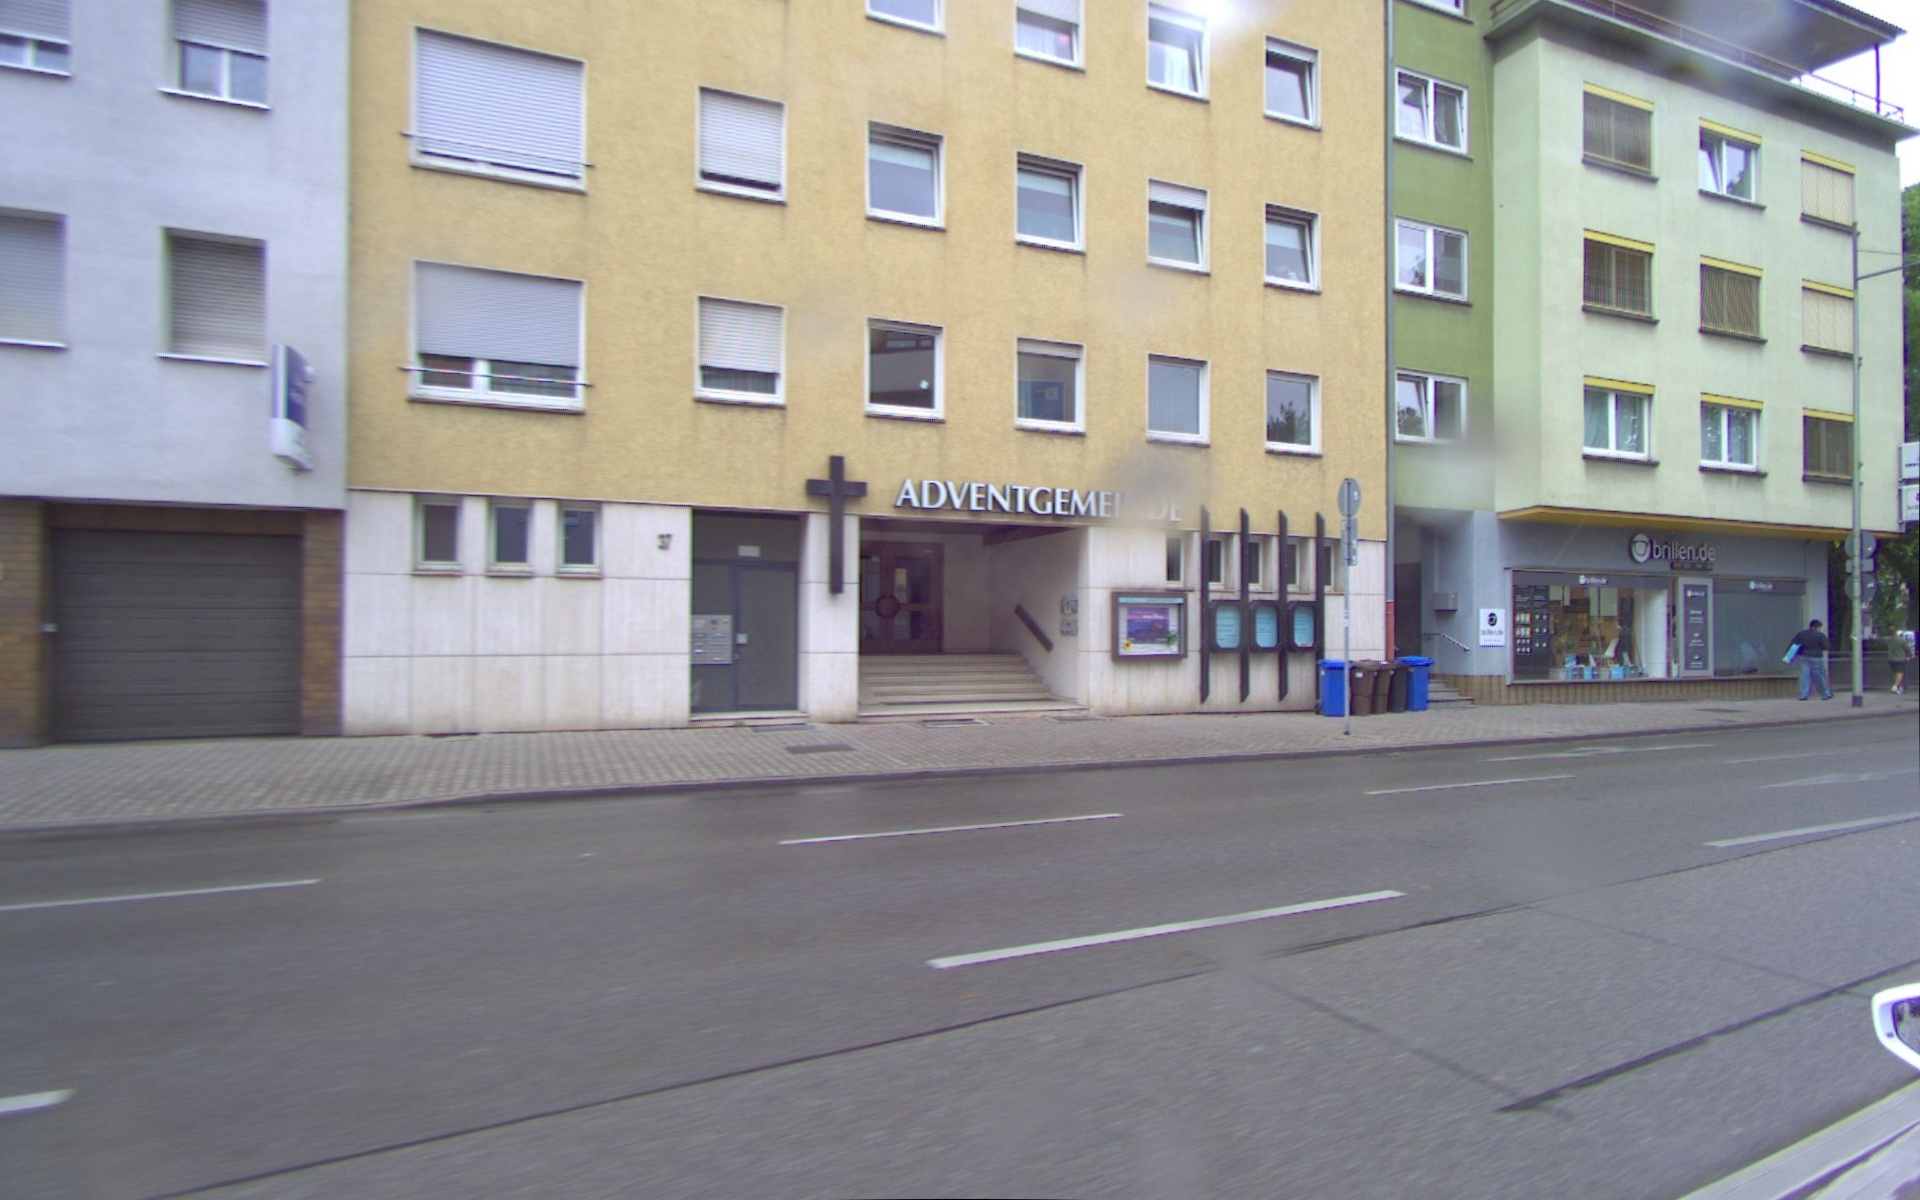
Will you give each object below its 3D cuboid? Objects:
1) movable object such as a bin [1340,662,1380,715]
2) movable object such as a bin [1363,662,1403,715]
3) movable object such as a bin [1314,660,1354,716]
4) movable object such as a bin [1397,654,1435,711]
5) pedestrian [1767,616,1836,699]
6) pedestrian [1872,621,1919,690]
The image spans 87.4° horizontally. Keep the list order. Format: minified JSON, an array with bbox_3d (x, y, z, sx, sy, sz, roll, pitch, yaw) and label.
[{"bbox_3d":[7.062,1.554,17.751,0.495,0.912,0.453,1,-1,-22],"label":"movable object such as a bin"},{"bbox_3d":[7.568,1.569,17.968,0.495,0.912,0.453,1,-1,-22],"label":"movable object such as a bin"},{"bbox_3d":[6.521,1.527,17.525,0.495,0.942,0.453,1,-1,-22],"label":"movable object such as a bin"},{"bbox_3d":[8.428,1.514,18.568,0.537,1.020,0.398,1,-1,-23],"label":"movable object such as a bin"},{"bbox_3d":[19.152,1.282,22.863,0.863,1.812,0.863,1,1,-23],"label":"pedestrian"},{"bbox_3d":[23.607,1.378,25.268,0.807,1.710,0.794,1,-1,-30],"label":"pedestrian"}]
